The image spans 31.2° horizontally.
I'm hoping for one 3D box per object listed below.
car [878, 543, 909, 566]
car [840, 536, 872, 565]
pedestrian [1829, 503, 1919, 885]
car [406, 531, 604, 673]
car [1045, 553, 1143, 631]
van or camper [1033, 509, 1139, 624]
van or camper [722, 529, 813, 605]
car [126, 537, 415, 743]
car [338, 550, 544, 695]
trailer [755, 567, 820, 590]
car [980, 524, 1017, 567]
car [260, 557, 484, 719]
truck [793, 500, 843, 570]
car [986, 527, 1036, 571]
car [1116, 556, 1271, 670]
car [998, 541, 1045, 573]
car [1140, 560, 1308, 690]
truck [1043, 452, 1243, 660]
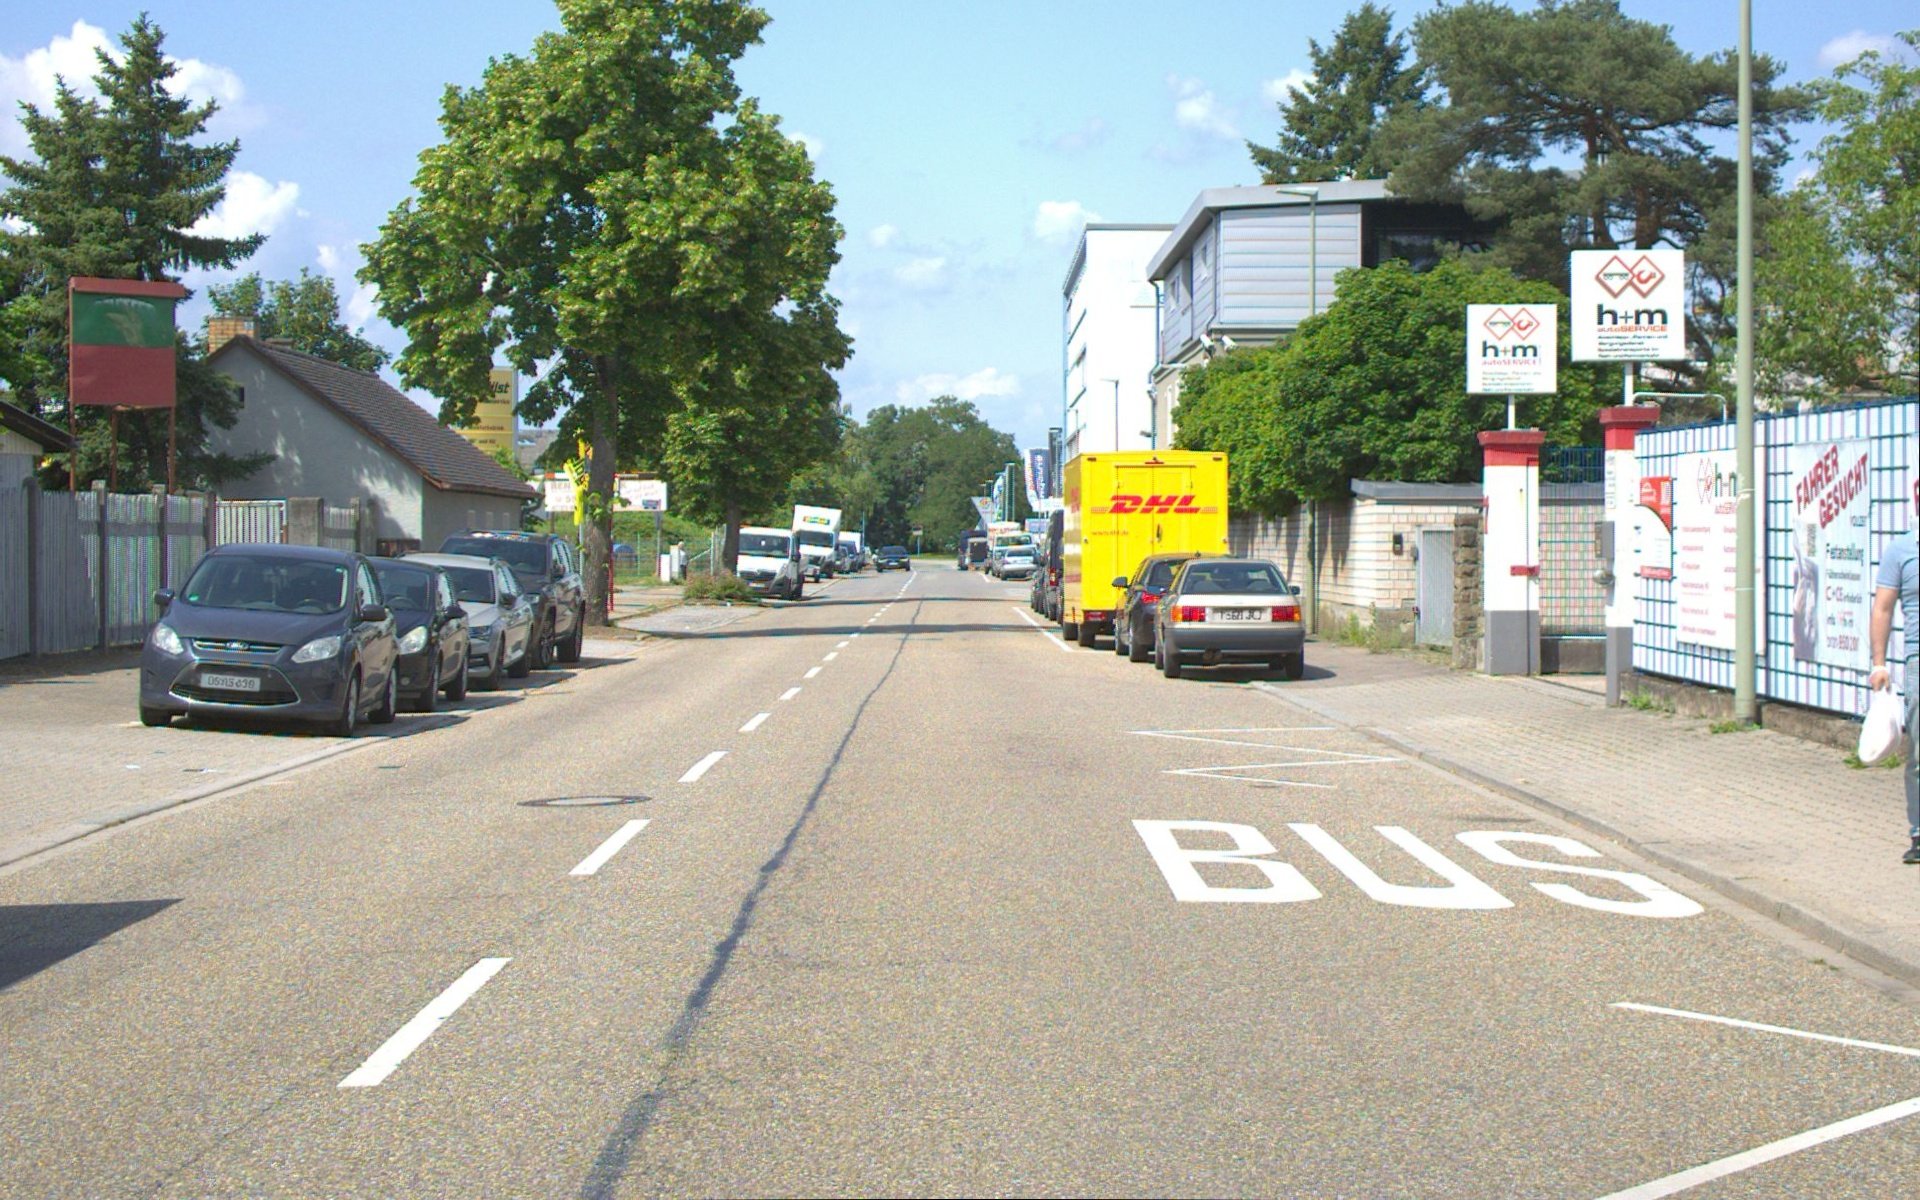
[{"bbox_3d":[-3.846,-2.653,199.297,1.654,1.320,4.416,0,1,0],"label":"car"},{"bbox_3d":[-5.991,-2.846,197.832,1.713,1.645,4.000,0,1,0],"label":"car"},{"bbox_3d":[4.486,0.404,15.733,0.715,1.691,0.522,-5,1,-4],"label":"pedestrian"},{"bbox_3d":[-6.115,-0.010,46.716,1.919,1.816,4.785,0,1,2],"label":"car"},{"bbox_3d":[2.590,-0.188,67.302,1.681,1.437,4.767,1,1,0],"label":"car"},{"bbox_3d":[2.639,-0.727,73.148,1.993,2.283,5.448,2,1,0],"label":"van or camper"},{"bbox_3d":[-6.266,-1.129,112.897,2.174,2.405,7.697,0,1,3],"label":"van or camper"},{"bbox_3d":[-6.001,0.289,30.382,1.724,1.598,4.415,3,1,-2],"label":"car"},{"bbox_3d":[-6.117,0.217,40.969,1.733,1.513,4.743,2,1,-1],"label":"car"},{"bbox_3d":[-7.165,-0.895,143.366,2.417,0.811,5.537,2,1,0],"label":"trailer"},{"bbox_3d":[1.886,-2.696,169.721,1.707,2.082,4.000,0,1,-1],"label":"car"},{"bbox_3d":[-6.022,0.344,35.614,1.627,1.443,4.027,4,1,-1],"label":"car"},{"bbox_3d":[-6.478,-2.981,157.389,2.029,3.143,6.500,0,1,0],"label":"truck"},{"bbox_3d":[2.345,-2.385,159.186,2.216,2.007,5.485,0,1,0],"label":"car"},{"bbox_3d":[3.071,0.139,45.920,1.662,1.436,4.284,0,1,-2],"label":"car"},{"bbox_3d":[2.593,-1.820,145.334,1.928,1.306,4.000,0,1,0],"label":"car"},{"bbox_3d":[3.119,0.259,41.368,1.652,1.382,4.423,1,2,0],"label":"car"},{"bbox_3d":[2.716,-0.685,52.996,2.474,2.930,7.189,1,1,-1],"label":"truck"}]
